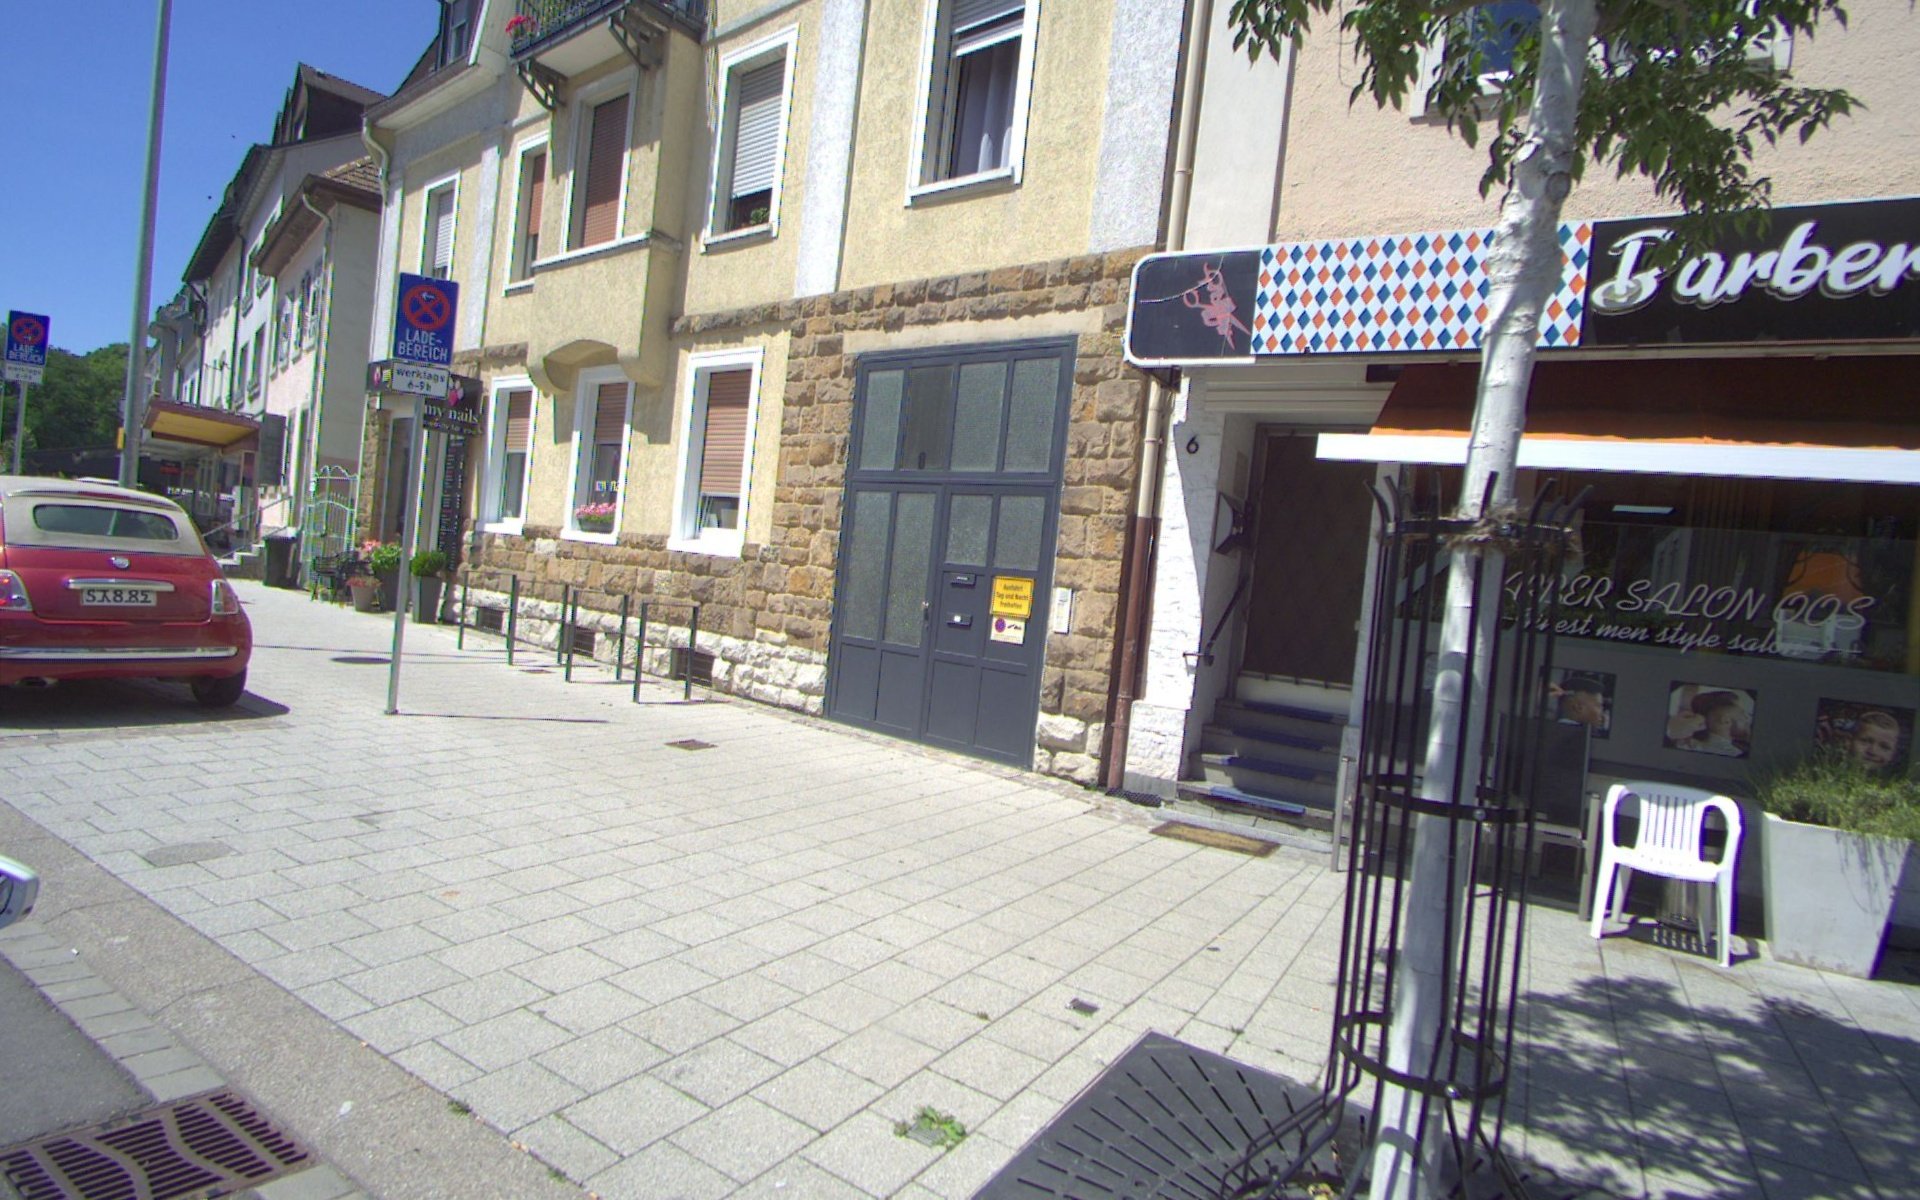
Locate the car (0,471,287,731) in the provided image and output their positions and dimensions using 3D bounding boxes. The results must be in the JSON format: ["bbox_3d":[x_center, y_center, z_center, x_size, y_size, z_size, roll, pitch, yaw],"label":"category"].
[{"bbox_3d":[-6.698,-0.130,7.360,3.330,1.534,1.679,7,2,32],"label":"car"}]

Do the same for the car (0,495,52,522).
[{"bbox_3d":[-62.641,-6.107,67.236,1.854,1.511,3.834,5,2,-26],"label":"car"}]

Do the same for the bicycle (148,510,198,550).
[{"bbox_3d":[-27.803,-2.475,35.549,1.262,1.198,0.411,8,-1,-33],"label":"bicycle"}]
